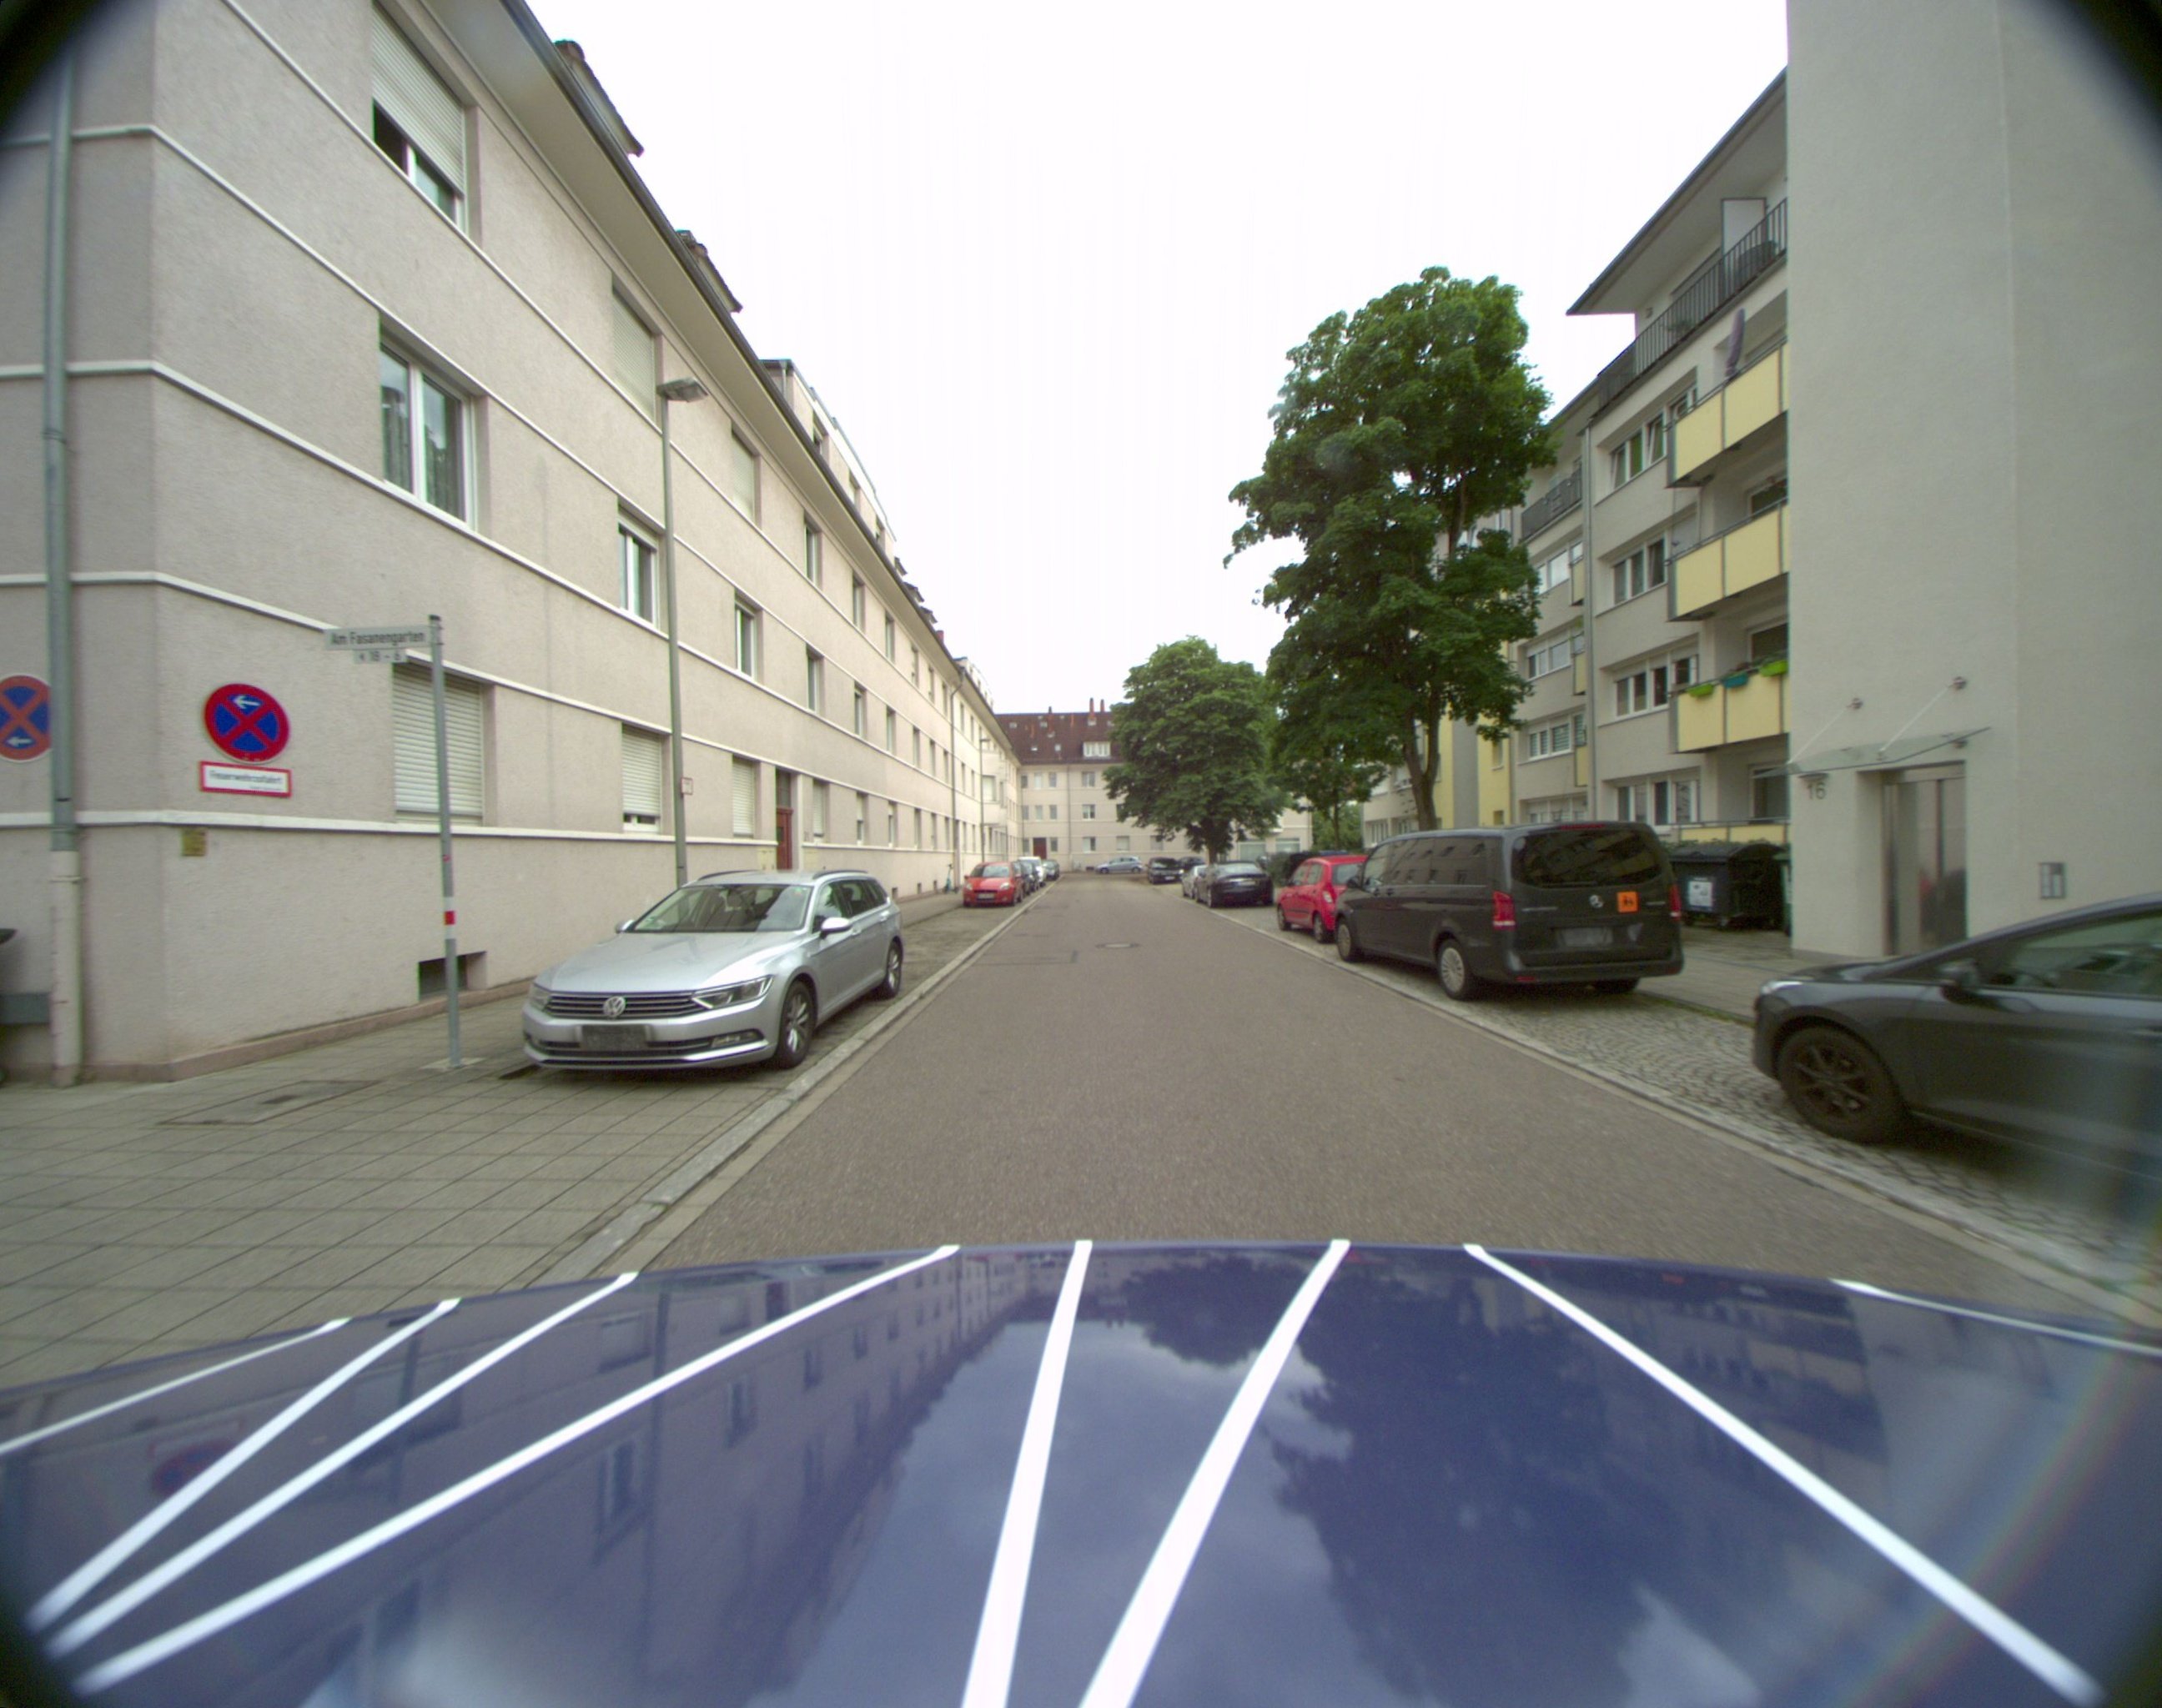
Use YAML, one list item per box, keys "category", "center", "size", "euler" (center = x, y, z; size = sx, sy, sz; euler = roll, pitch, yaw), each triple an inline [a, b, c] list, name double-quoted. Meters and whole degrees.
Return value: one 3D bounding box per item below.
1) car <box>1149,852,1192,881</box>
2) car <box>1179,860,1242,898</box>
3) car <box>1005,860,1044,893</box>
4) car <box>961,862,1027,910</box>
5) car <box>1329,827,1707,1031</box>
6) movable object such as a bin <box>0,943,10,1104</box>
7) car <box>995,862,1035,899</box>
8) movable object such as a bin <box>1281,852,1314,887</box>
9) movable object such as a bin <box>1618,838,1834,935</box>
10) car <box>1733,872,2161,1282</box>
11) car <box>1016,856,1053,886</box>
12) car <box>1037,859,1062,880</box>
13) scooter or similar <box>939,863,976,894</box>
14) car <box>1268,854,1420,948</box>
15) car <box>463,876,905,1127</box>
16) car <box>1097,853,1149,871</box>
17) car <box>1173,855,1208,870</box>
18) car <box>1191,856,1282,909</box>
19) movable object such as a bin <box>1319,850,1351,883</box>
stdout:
- category: "car"
  center: [5.177, 0.696, 44.574]
  size: [2.000, 1.566, 4.209]
  euler: [-3, 0, 1]
- category: "car"
  center: [5.006, 0.946, 29.937]
  size: [1.765, 1.257, 4.209]
  euler: [-3, 0, 1]
- category: "car"
  center: [-2.694, 1.069, 37.103]
  size: [1.587, 1.500, 3.486]
  euler: [-1, 0, 1]
- category: "car"
  center: [-2.886, 1.034, 25.923]
  size: [1.758, 1.477, 3.773]
  euler: [0, 0, 1]
- category: "car"
  center: [4.822, 0.693, 9.417]
  size: [1.891, 1.844, 4.785]
  euler: [-1, 0, 0]
- category: "movable object such as a bin"
  center: [-7.288, 1.105, 4.614]
  size: [0.549, 1.036, 0.705]
  euler: [-1, 1, 3]
- category: "car"
  center: [-2.710, 1.070, 31.769]
  size: [1.353, 1.404, 3.310]
  euler: [-1, 0, 1]
- category: "movable object such as a bin"
  center: [9.195, 0.641, 32.335]
  size: [1.184, 1.468, 0.889]
  euler: [-1, 0, 4]
- category: "movable object such as a bin"
  center: [11.114, 0.515, 13.297]
  size: [1.617, 1.515, 2.541]
  euler: [-1, 0, -1]
- category: "car"
  center: [4.853, 0.857, 2.706]
  size: [1.625, 1.437, 3.818]
  euler: [-2, 0, -3]
- category: "car"
  center: [-2.557, 0.920, 42.595]
  size: [1.764, 1.595, 3.956]
  euler: [-1, 0, 1]
- category: "car"
  center: [-2.156, 1.059, 53.241]
  size: [1.563, 1.334, 3.788]
  euler: [-1, 0, 1]
- category: "scooter or similar"
  center: [-5.167, 0.995, 31.770]
  size: [0.650, 1.226, 1.473]
  euler: [0, 1, 36]
- category: "car"
  center: [4.910, 0.799, 14.709]
  size: [1.625, 1.559, 3.613]
  euler: [-1, 0, -1]
- category: "car"
  center: [-2.974, 0.988, 6.814]
  size: [1.792, 1.455, 4.040]
  euler: [-1, 0, 0]
- category: "car"
  center: [3.745, 0.684, 67.703]
  size: [4.545, 1.550, 1.565]
  euler: [-1, 0, 4]
- category: "car"
  center: [9.720, 0.751, 67.581]
  size: [2.930, 1.277, 1.353]
  euler: [-1, 0, 4]
- category: "car"
  center: [4.893, 0.838, 24.571]
  size: [1.919, 1.431, 4.434]
  euler: [-3, 0, -1]
- category: "movable object such as a bin"
  center: [11.519, 0.540, 34.465]
  size: [1.184, 1.468, 0.889]
  euler: [-1, 0, 4]
